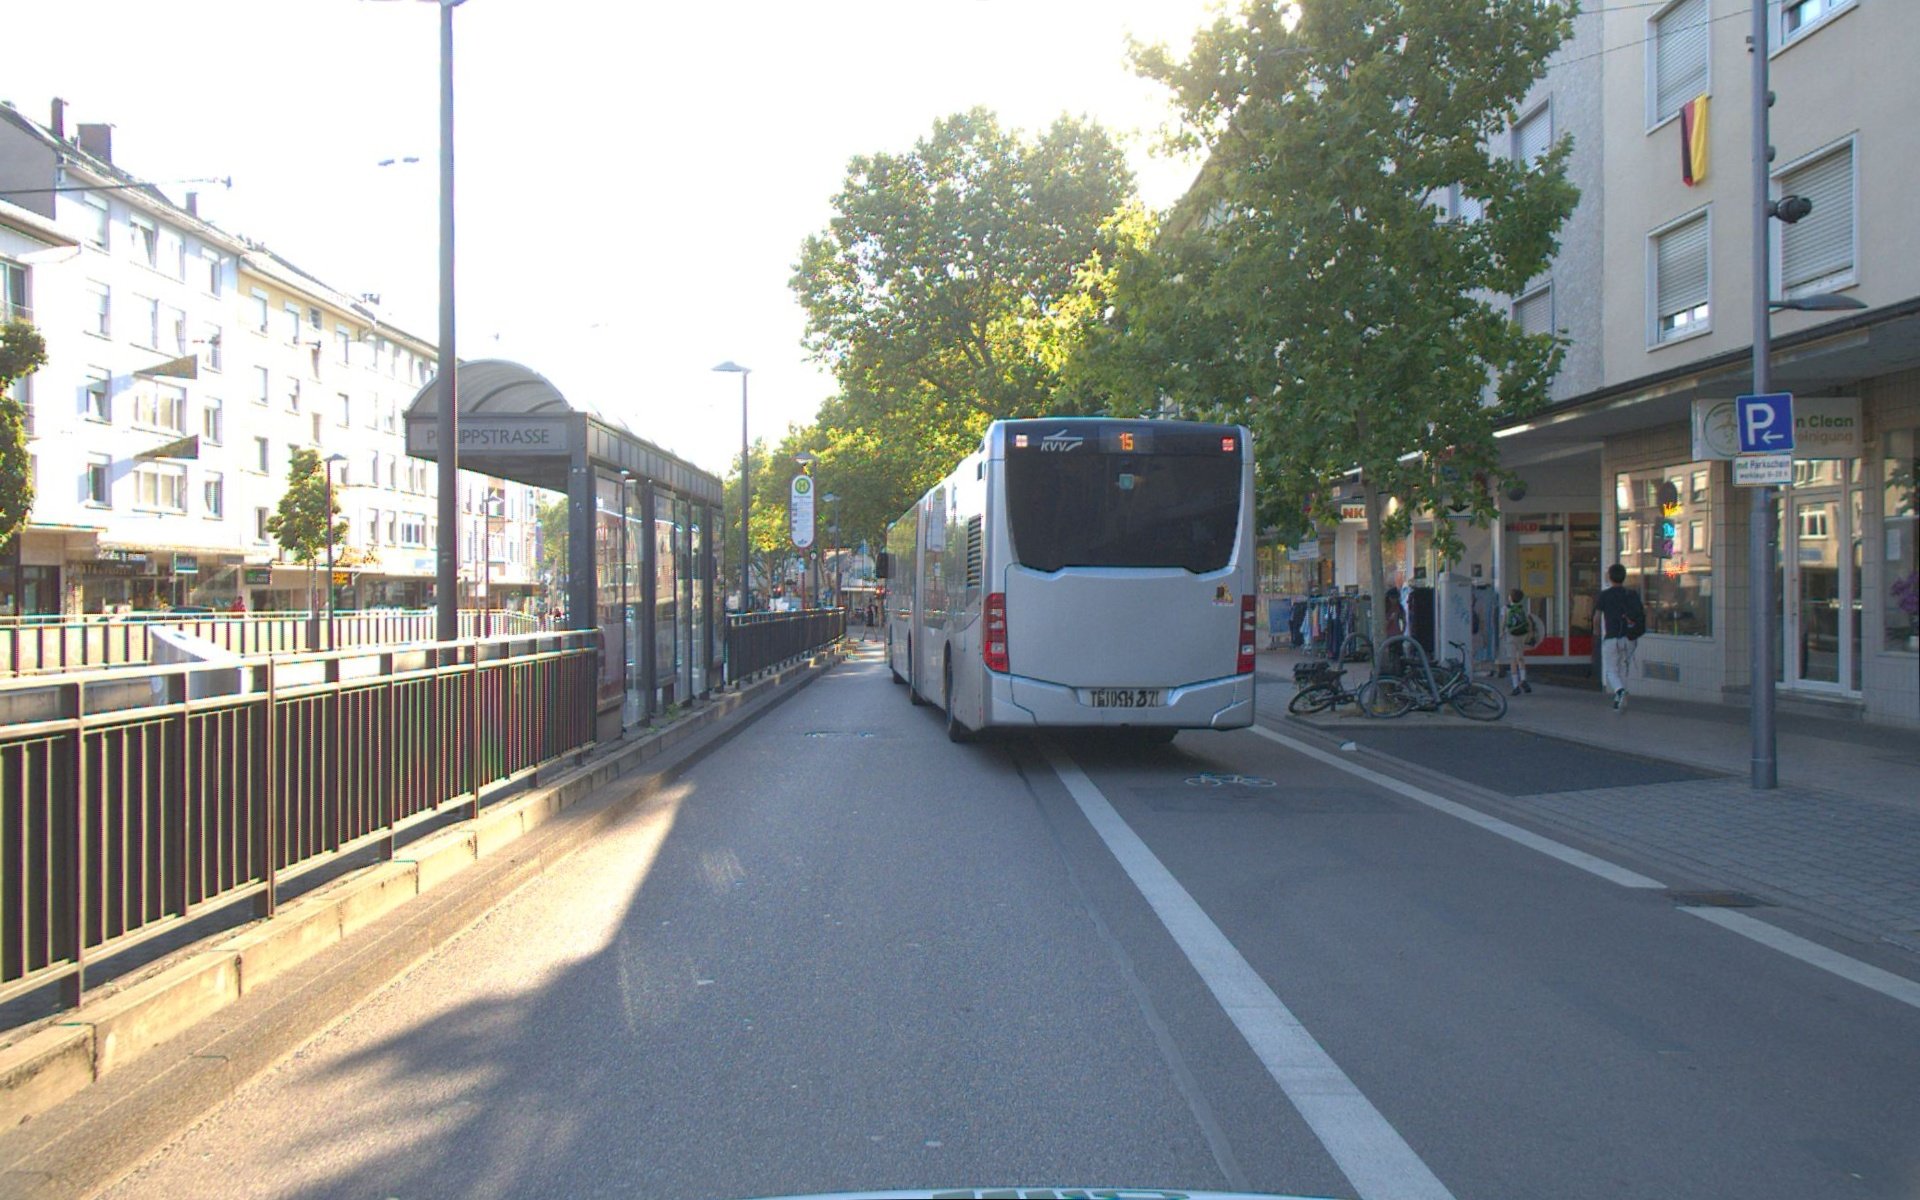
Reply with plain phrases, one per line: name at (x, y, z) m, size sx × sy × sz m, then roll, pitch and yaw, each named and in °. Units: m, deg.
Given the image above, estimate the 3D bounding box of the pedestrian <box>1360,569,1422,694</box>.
pedestrian at (6.424, 0.465, 24.672) m, size 0.709 × 1.827 × 0.766 m, roll 0°, pitch 0°, yaw -1°

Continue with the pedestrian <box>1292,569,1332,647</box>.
pedestrian at (8.552, 0.193, 40.219) m, size 0.709 × 1.827 × 0.766 m, roll -3°, pitch 0°, yaw -1°

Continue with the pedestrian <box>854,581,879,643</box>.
pedestrian at (-3.986, 0.509, 70.369) m, size 0.870 × 2.591 × 1.164 m, roll 0°, pitch 0°, yaw 6°

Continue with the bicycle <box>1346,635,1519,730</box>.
bicycle at (5.565, 0.963, 19.535) m, size 1.748 × 0.958 × 0.793 m, roll -4°, pitch 0°, yaw -6°

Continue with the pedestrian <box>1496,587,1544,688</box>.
pedestrian at (7.996, 0.529, 23.641) m, size 0.465 × 1.419 × 0.611 m, roll 0°, pitch 0°, yaw -1°

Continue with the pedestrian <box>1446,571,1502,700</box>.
pedestrian at (7.404, 0.498, 23.838) m, size 0.553 × 1.827 × 0.766 m, roll 0°, pitch 0°, yaw -1°

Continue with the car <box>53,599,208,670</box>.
car at (-23.268, 0.921, 46.473) m, size 1.740 × 1.708 × 3.489 m, roll 1°, pitch 4°, yaw 43°

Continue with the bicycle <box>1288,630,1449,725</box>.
bicycle at (5.218, 0.982, 21.118) m, size 1.765 × 0.637 × 0.935 m, roll -4°, pitch -34°, yaw -33°

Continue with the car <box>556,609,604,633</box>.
car at (-32.460, 1.798, 141.465) m, size 3.918 × 2.049 × 1.957 m, roll 1°, pitch 0°, yaw -13°

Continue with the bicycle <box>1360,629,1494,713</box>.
bicycle at (5.860, 0.883, 20.738) m, size 1.676 × 0.958 × 0.645 m, roll 1°, pitch -9°, yaw -36°

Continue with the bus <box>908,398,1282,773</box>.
bus at (1.032, -0.122, 18.884) m, size 2.644 × 3.173 × 9.371 m, roll 1°, pitch 0°, yaw -5°

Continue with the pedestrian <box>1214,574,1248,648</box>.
pedestrian at (6.713, 0.271, 41.055) m, size 0.709 × 1.827 × 0.766 m, roll 0°, pitch 0°, yaw -1°

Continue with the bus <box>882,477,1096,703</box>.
bus at (0.208, -0.141, 28.071) m, size 2.644 × 3.173 × 9.060 m, roll 1°, pitch 0°, yaw -5°

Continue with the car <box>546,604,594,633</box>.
car at (-23.392, 1.081, 99.281) m, size 1.953 × 1.680 × 3.999 m, roll 0°, pitch 0°, yaw -1°

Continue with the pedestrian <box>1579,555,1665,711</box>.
pedestrian at (7.890, 0.390, 19.736) m, size 0.709 × 1.827 × 0.766 m, roll 0°, pitch 0°, yaw -1°
